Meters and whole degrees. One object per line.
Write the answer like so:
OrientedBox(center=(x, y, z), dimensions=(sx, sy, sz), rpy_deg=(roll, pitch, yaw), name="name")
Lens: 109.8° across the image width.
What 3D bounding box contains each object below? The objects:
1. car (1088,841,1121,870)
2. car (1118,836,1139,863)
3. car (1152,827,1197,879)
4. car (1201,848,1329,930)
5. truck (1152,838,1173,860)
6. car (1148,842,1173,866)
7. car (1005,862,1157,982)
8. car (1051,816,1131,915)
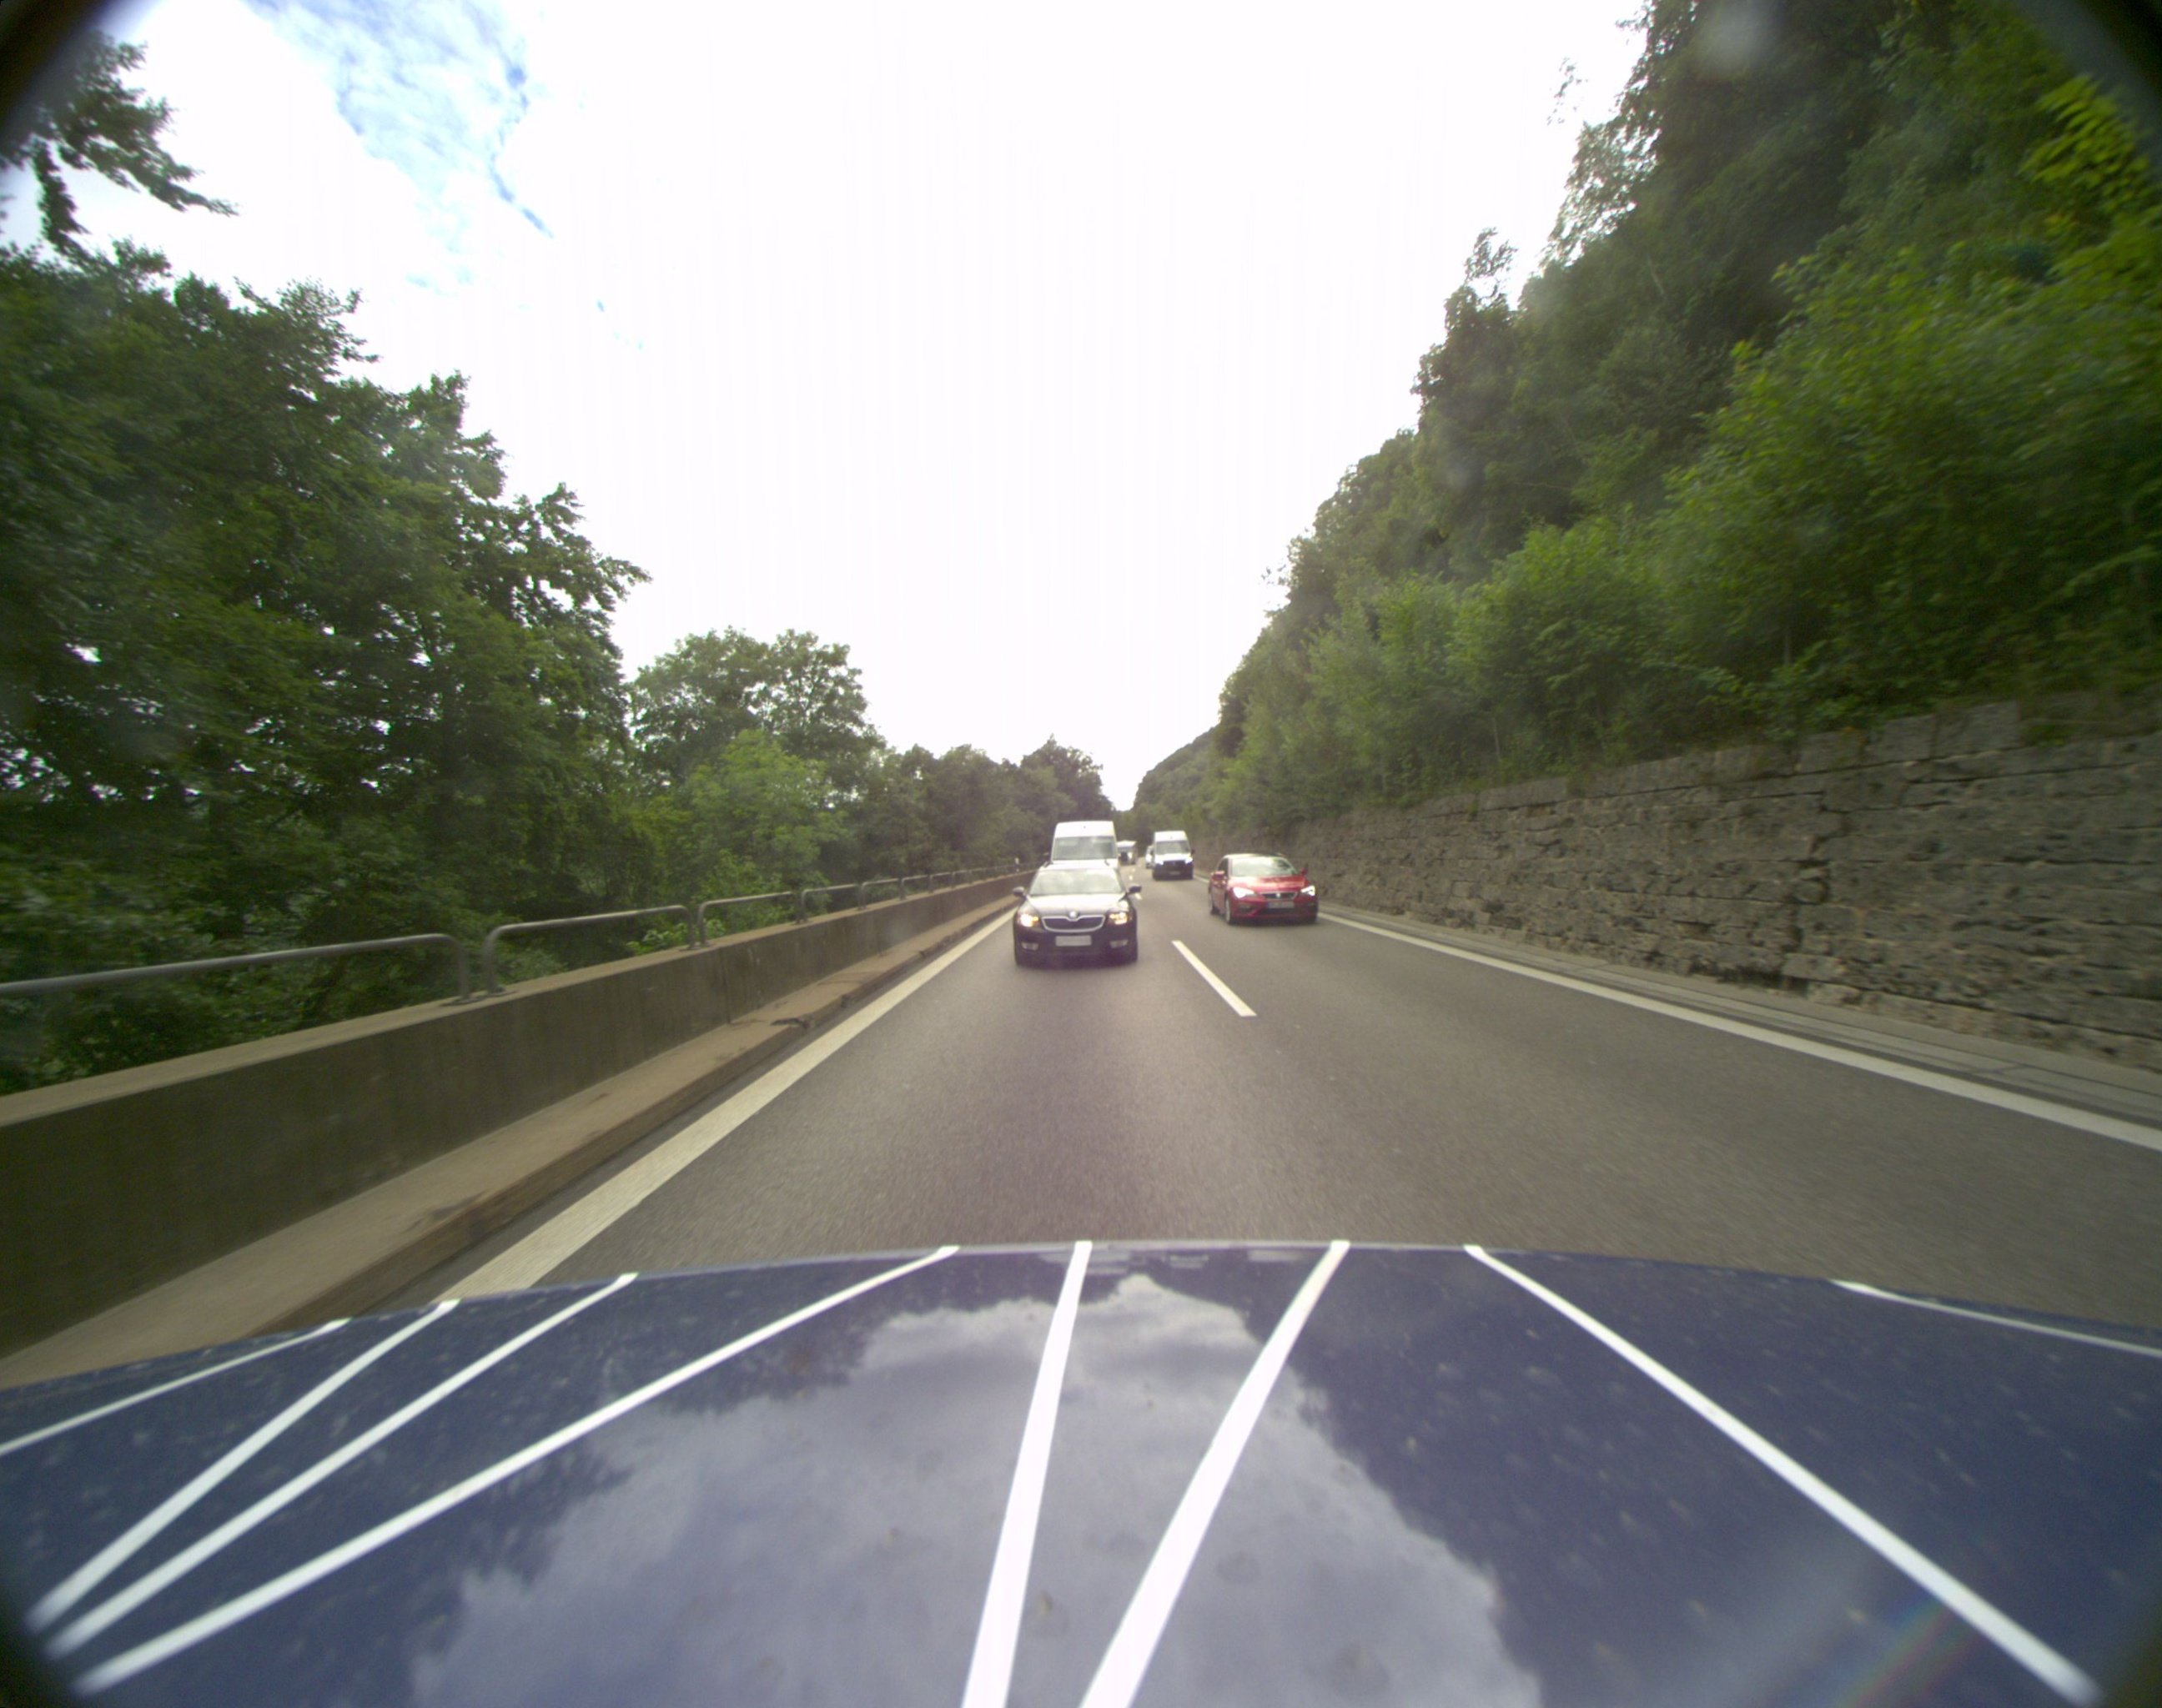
OrientedBox(center=(1.733, 0.050, 54.085), dimensions=(1.998, 1.871, 4.001), rpy_deg=(-3, 1, 6), name="car")
OrientedBox(center=(5.449, -0.567, 87.296), dimensions=(2.276, 2.941, 7.187), rpy_deg=(-2, 1, 4), name="car")
OrientedBox(center=(5.049, -0.074, 41.648), dimensions=(2.030, 2.570, 6.275), rpy_deg=(-2, 1, 4), name="car")
OrientedBox(center=(3.812, 0.648, 16.511), dimensions=(1.770, 1.451, 4.411), rpy_deg=(-2, 1, 2), name="car")
OrientedBox(center=(9.408, -0.592, 87.005), dimensions=(1.997, 2.266, 6.589), rpy_deg=(-4, 0, 8), name="truck")
OrientedBox(center=(7.187, -0.056, 68.648), dimensions=(1.998, 1.941, 6.150), rpy_deg=(-4, 0, 6), name="car")
OrientedBox(center=(-0.185, 0.914, 12.720), dimensions=(1.914, 1.391, 5.694), rpy_deg=(-3, 0, -4), name="car")
OrientedBox(center=(0.182, 0.275, 22.985), dimensions=(1.999, 2.550, 5.916), rpy_deg=(-2, 1, -2), name="car")
